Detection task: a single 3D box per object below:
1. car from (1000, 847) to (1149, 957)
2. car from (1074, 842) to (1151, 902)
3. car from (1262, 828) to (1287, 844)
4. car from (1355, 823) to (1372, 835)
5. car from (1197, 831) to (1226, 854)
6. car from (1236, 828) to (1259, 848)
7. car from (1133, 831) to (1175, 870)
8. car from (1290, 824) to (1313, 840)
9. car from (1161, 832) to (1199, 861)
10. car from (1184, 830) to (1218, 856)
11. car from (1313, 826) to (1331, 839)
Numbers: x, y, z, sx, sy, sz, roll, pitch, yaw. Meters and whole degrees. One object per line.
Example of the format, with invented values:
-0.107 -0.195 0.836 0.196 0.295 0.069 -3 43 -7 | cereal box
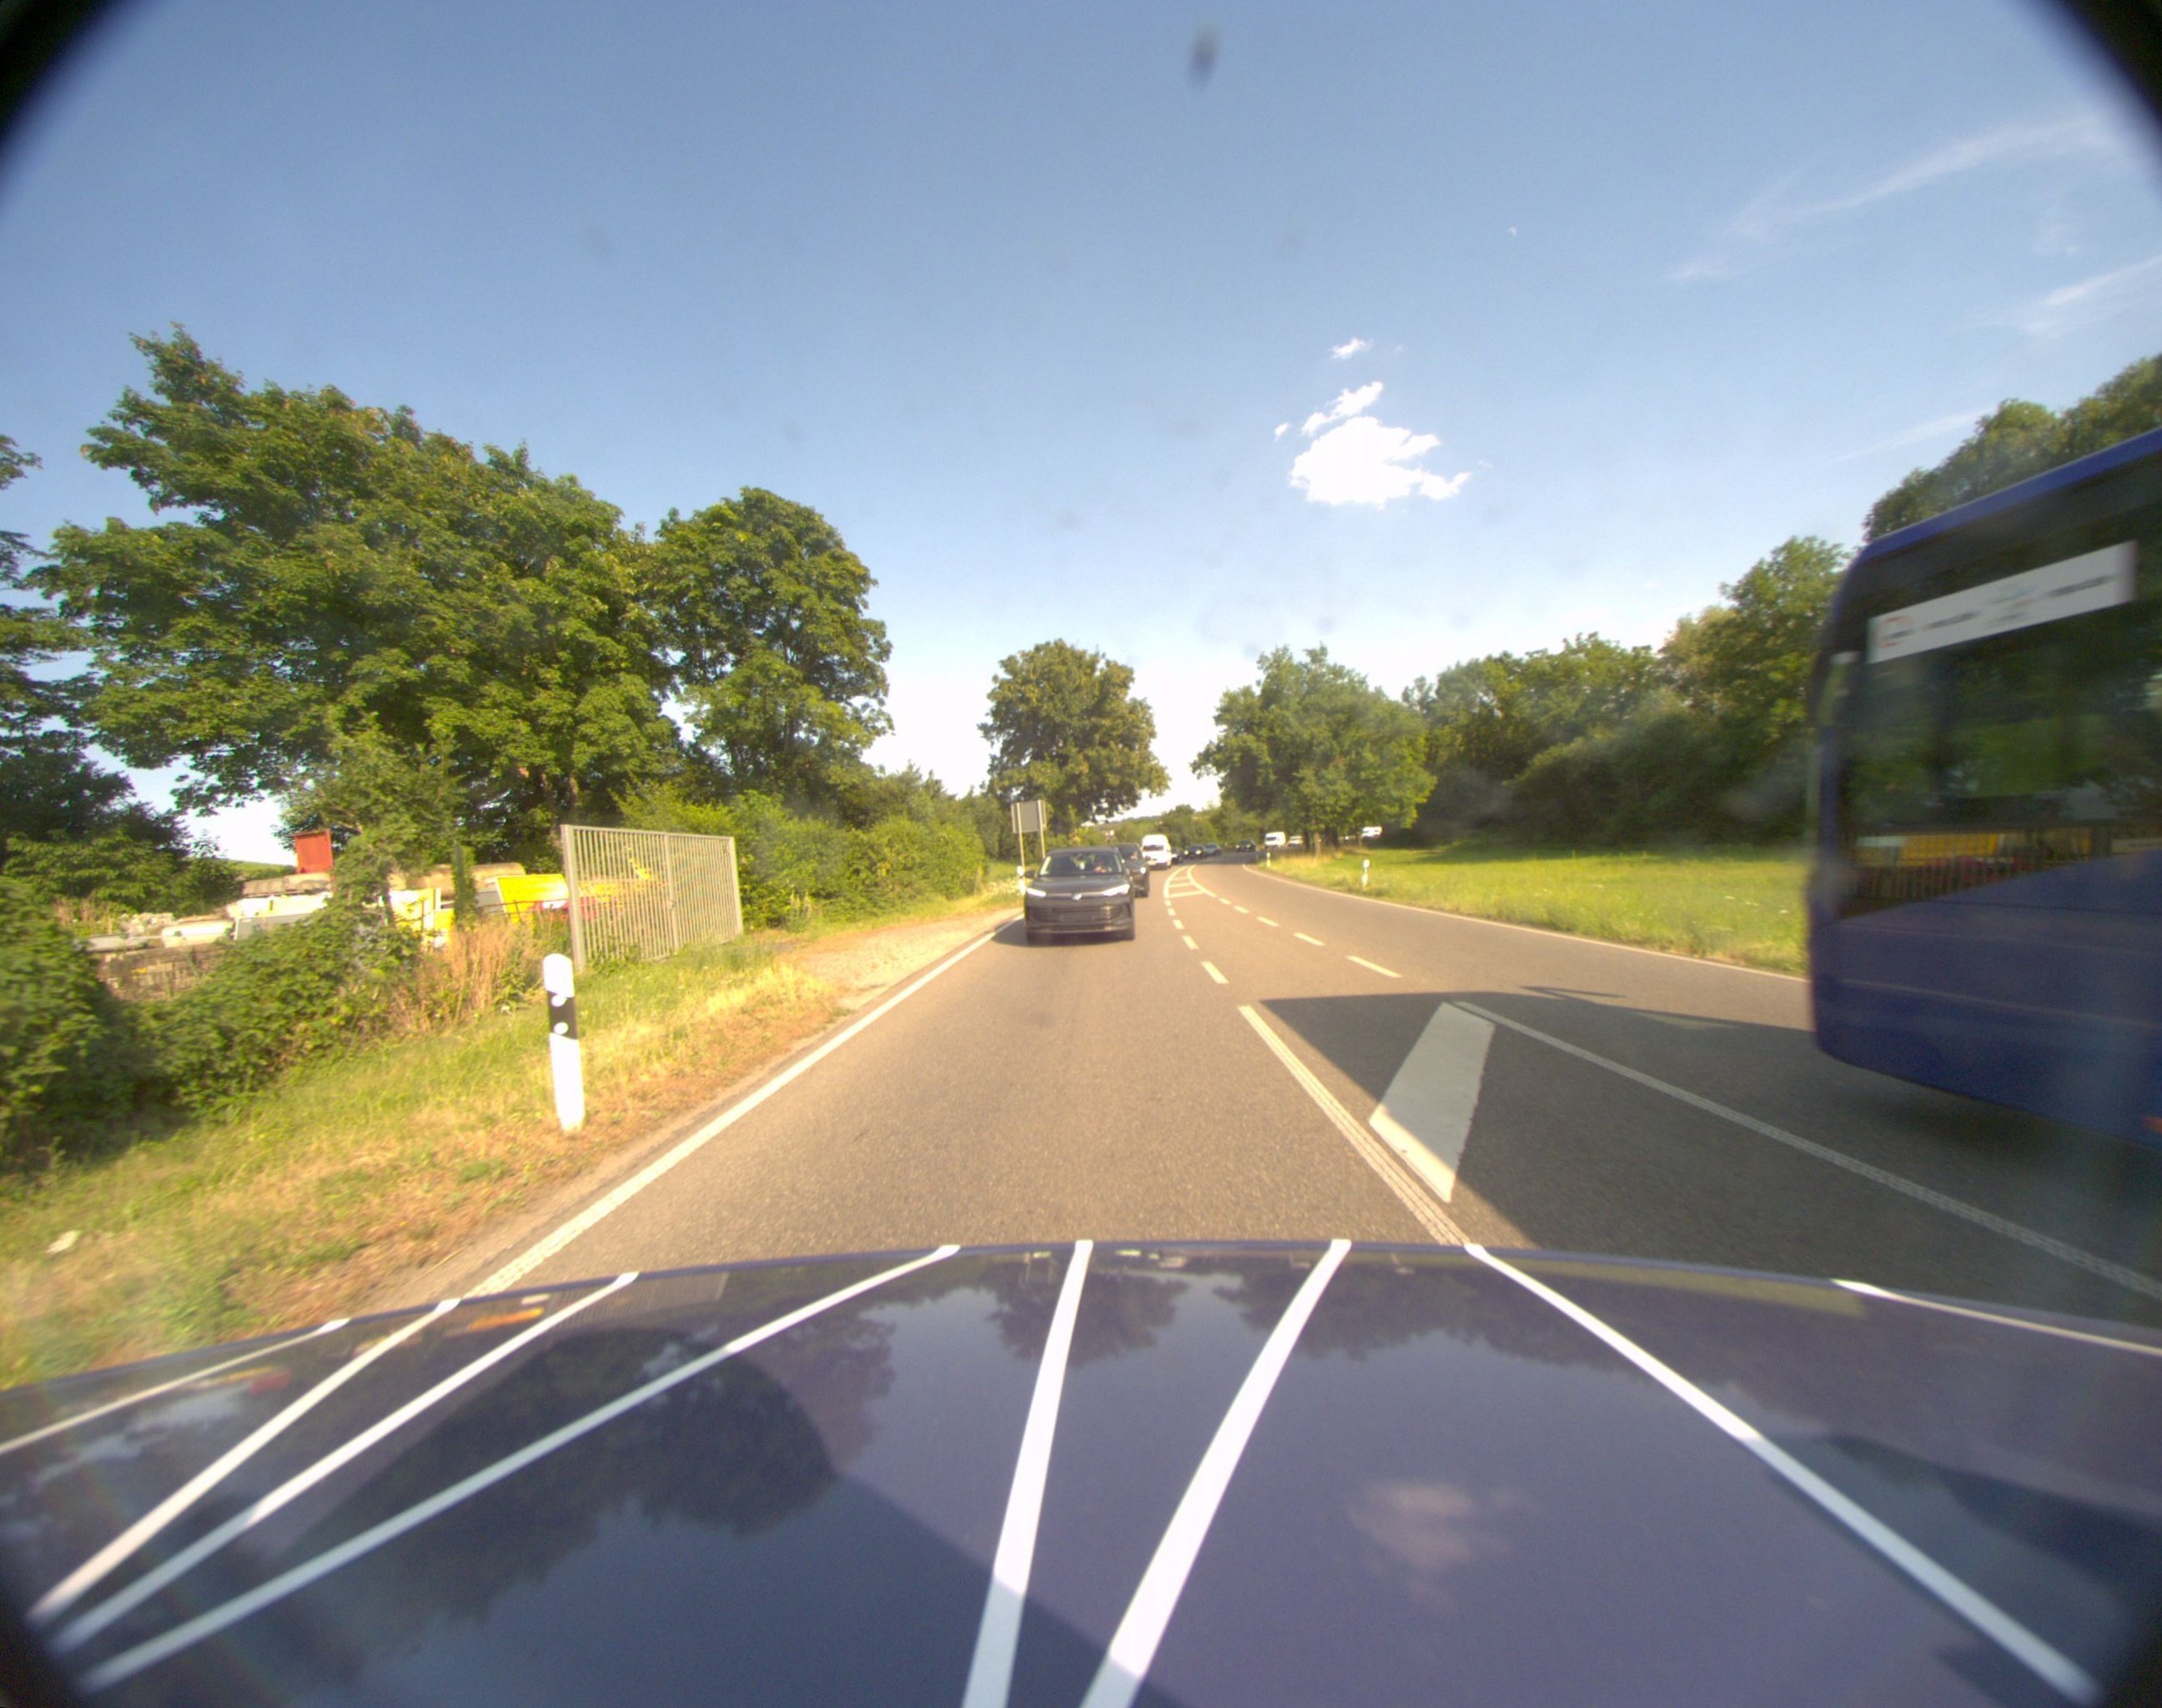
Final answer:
0.095 0.734 14.142 1.921 1.612 4.704 -3 1 9 | car
1.165 0.507 25.225 1.921 1.719 4.704 -3 1 9 | car
30.616 -2.862 120.202 2.084 2.403 5.151 -2 2 34 | car
59.673 -5.343 160.224 2.084 2.403 5.151 -2 2 34 | car
15.234 -1.339 88.494 2.085 2.403 5.149 -2 2 23 | car
22.659 -2.204 103.101 2.085 2.403 5.149 -2 2 23 | car
5.046 -0.321 51.634 2.086 2.403 5.145 -3 1 13 | car
37.937 -3.808 130.575 2.084 2.403 5.151 -2 2 34 | car
9.127 -0.714 69.581 2.085 2.403 5.149 -2 2 23 | car
12.411 -1.193 78.332 2.085 2.403 5.149 -2 2 23 | car
48.923 -4.321 154.292 2.084 2.403 5.151 -2 2 34 | car
